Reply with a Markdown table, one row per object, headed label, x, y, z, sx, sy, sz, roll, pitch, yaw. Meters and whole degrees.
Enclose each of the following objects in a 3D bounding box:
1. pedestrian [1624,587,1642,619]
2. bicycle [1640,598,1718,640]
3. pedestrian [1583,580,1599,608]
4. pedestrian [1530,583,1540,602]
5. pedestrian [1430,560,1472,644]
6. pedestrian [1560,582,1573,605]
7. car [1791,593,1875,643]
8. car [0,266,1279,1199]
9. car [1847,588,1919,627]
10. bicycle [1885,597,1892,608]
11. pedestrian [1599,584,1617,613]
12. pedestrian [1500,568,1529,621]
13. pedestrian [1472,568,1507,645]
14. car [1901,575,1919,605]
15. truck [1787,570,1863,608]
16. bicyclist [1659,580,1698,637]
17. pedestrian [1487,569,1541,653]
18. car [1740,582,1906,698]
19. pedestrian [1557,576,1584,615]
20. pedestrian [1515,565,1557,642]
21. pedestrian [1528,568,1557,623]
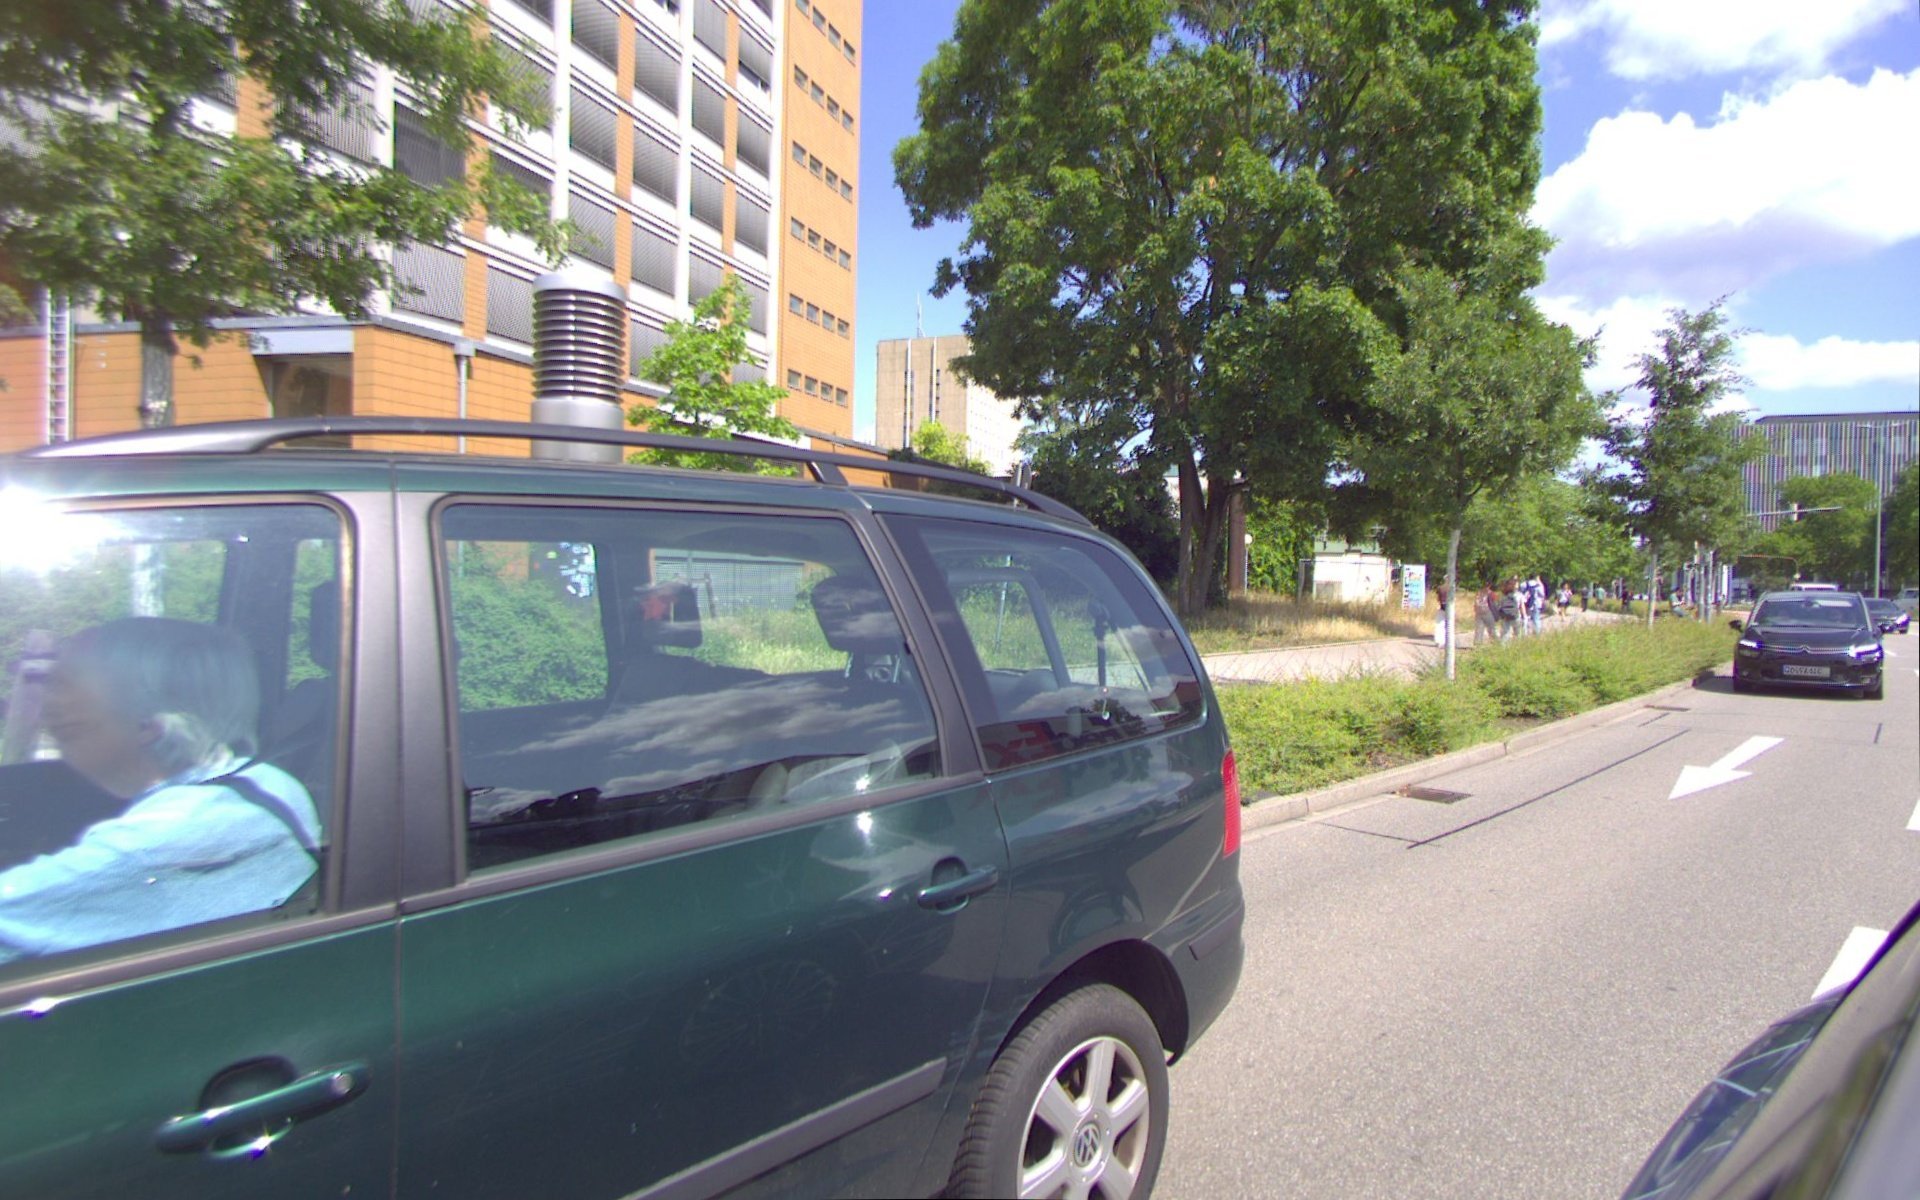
| label | x | y | z | sx | sy | sz | roll | pitch | yaw |
| --- | --- | --- | --- | --- | --- | --- | --- | --- | --- |
| pedestrian | 37.355 | 0.154 | 56.158 | 0.662 | 1.771 | 0.840 | 3 | 1 | 26 |
| bicycle | 21.392 | 0.549 | 30.149 | 1.803 | 1.062 | 0.585 | 5 | 4 | 34 |
| pedestrian | 40.243 | -0.374 | 64.524 | 0.660 | 1.768 | 0.605 | 3 | 1 | 21 |
| pedestrian | 55.164 | -0.702 | 97.081 | 0.836 | 1.787 | 0.834 | 0 | 1 | 26 |
| pedestrian | 11.053 | 0.032 | 22.781 | 0.753 | 1.844 | 0.630 | 0 | 1 | 35 |
| pedestrian | 46.834 | -0.493 | 78.110 | 0.744 | 1.771 | 0.661 | 3 | 1 | 26 |
| car | 27.436 | 0.523 | 31.911 | 1.757 | 1.435 | 4.303 | -1 | 0 | 38 |
| car | -1.432 | 0.554 | 1.726 | 4.372 | 1.745 | 1.796 | -1 | 0 | -42 |
| car | 38.863 | 0.295 | 42.548 | 1.741 | 1.523 | 4.465 | -1 | 0 | 34 |
| bicycle | 94.475 | 0.229 | 102.964 | 1.642 | 1.121 | 0.382 | 0 | 1 | -43 |
| pedestrian | 41.189 | -0.074 | 64.321 | 0.743 | 1.799 | 0.876 | 3 | 1 | 21 |
| pedestrian | 18.796 | -0.189 | 34.323 | 0.747 | 1.774 | 0.602 | 3 | 1 | 33 |
| pedestrian | 11.638 | 0.132 | 22.237 | 0.585 | 1.646 | 0.719 | 0 | 1 | 35 |
| car | 63.154 | -0.619 | 65.580 | 1.869 | 1.918 | 4.823 | 1 | 1 | 27 |
| truck | 56.792 | -0.690 | 66.603 | 2.439 | 2.330 | 5.761 | -1 | 0 | 27 |
| bicyclist | 21.381 | 0.244 | 30.146 | 0.825 | 1.620 | 0.573 | 4 | 3 | 34 |
| pedestrian | 11.183 | 0.206 | 20.437 | 0.761 | 1.645 | 0.652 | -1 | 4 | -40 |
| car | 14.141 | 0.536 | 16.600 | 1.856 | 1.643 | 4.453 | 0 | 1 | 41 |
| pedestrian | 25.602 | -0.190 | 42.434 | 0.742 | 1.616 | 0.876 | 3 | 1 | 19 |
| pedestrian | 14.326 | 0.066 | 25.201 | 0.752 | 1.843 | 0.772 | 5 | 3 | 29 |
| pedestrian | 19.670 | -0.151 | 34.180 | 0.747 | 1.825 | 0.602 | 3 | 1 | 33 |
